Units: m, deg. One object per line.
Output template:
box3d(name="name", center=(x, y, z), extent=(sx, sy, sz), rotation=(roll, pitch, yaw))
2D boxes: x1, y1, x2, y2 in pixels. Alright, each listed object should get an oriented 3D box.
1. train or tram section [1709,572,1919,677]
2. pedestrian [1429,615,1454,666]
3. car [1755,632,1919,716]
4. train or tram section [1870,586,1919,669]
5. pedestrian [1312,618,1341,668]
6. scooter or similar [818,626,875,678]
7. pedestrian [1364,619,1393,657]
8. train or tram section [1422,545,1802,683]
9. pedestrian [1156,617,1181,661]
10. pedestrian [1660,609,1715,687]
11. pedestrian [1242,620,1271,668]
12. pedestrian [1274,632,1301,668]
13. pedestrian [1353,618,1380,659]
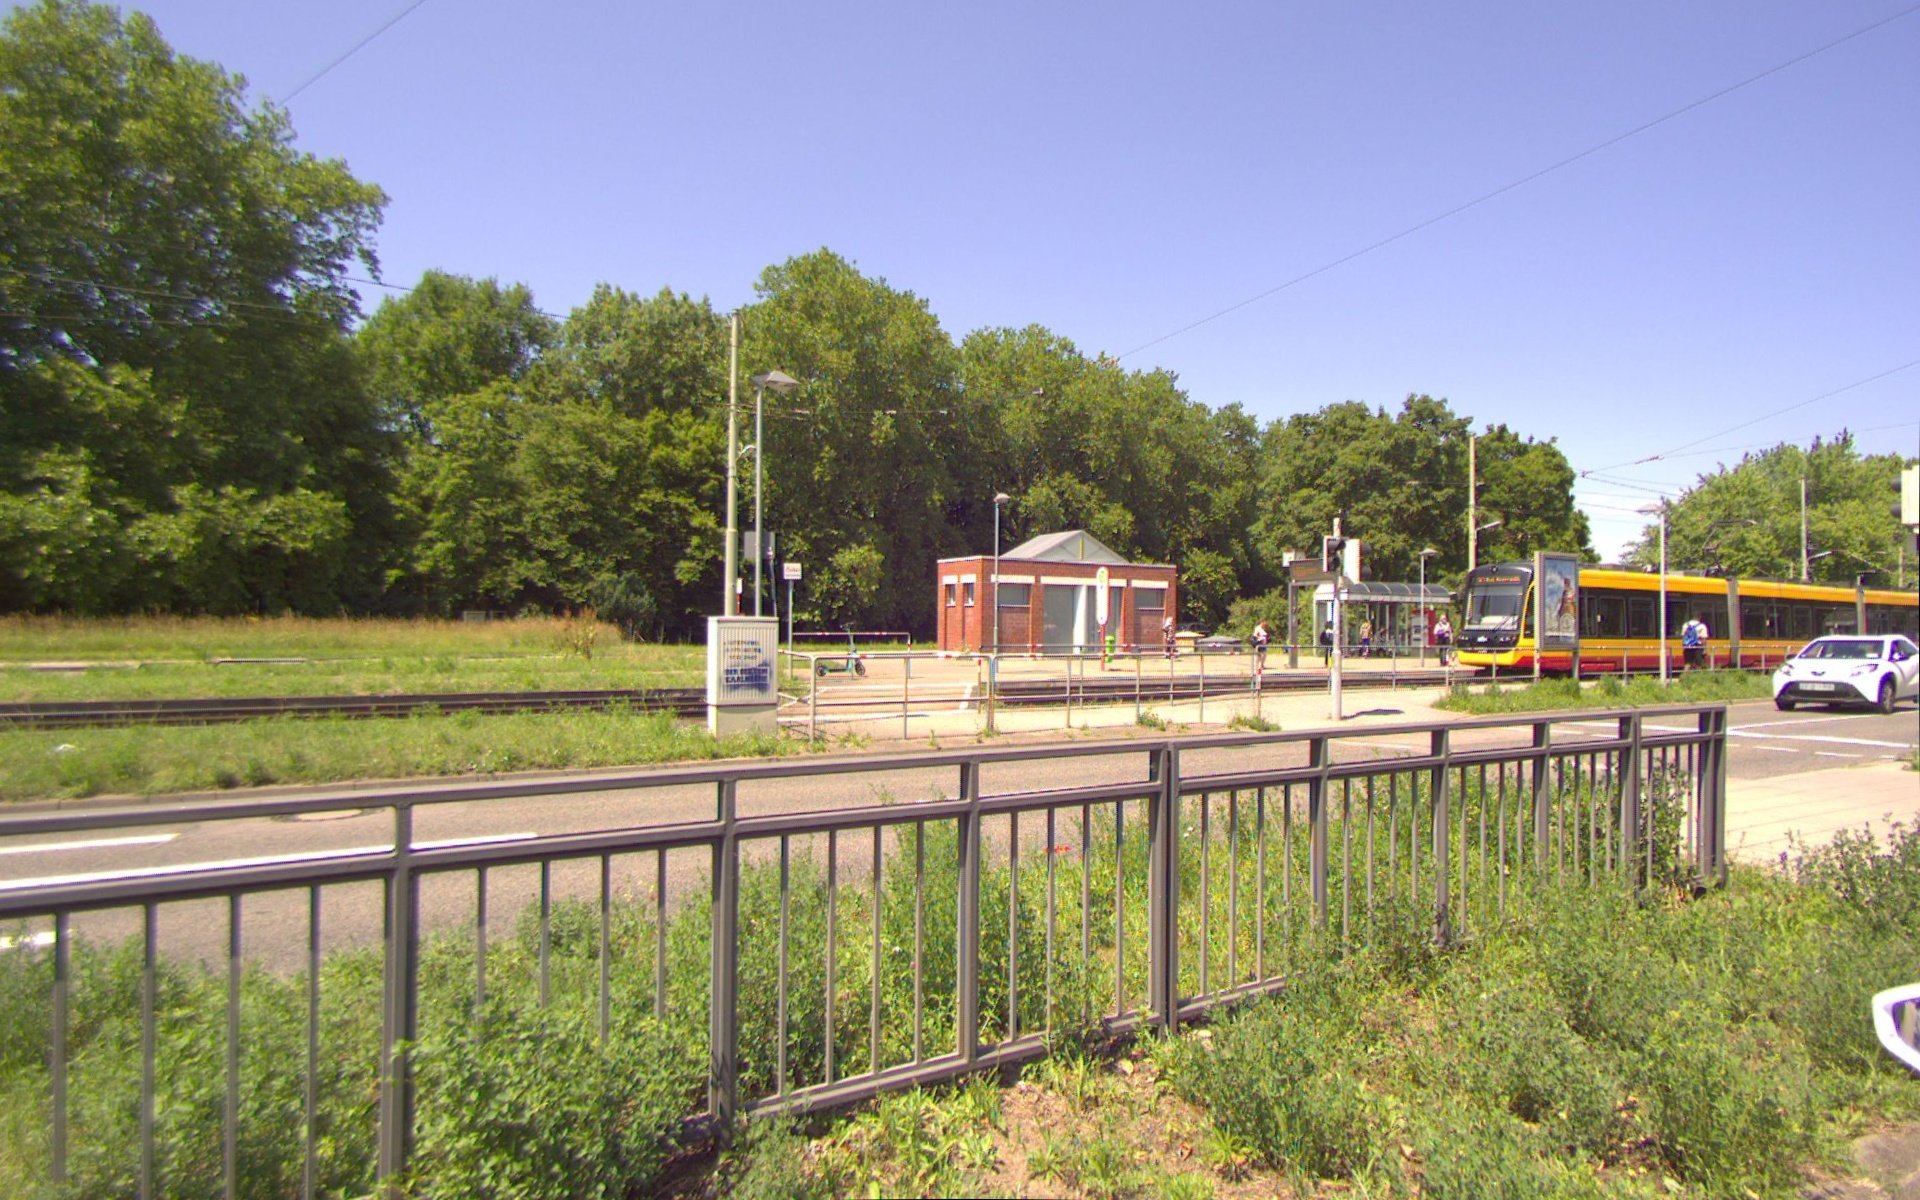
box3d(name="train or tram section", center=(38.990, 1.146, 44.282), extent=(18.293, 3.984, 3.198), rotation=(1, -1, -32))
box3d(name="pedestrian", center=(17.451, 1.471, 36.425), extent=(0.707, 1.824, 0.845), rotation=(0, -1, 17))
box3d(name="car", center=(18.070, 1.439, 20.374), extent=(3.747, 1.514, 1.836), rotation=(1, -1, -30))
box3d(name="train or tram section", center=(52.568, 1.540, 55.450), extent=(3.181, 3.984, 18.393), rotation=(0, -1, 43))
box3d(name="pedestrian", center=(11.843, 1.388, 32.417), extent=(0.688, 1.575, 0.629), rotation=(1, -1, -42))
box3d(name="scooter or similar", center=(-2.637, 1.201, 23.450), extent=(1.217, 1.183, 0.508), rotation=(1, -1, -30))
box3d(name="pedestrian", center=(17.245, 1.572, 41.373), extent=(0.710, 1.531, 0.841), rotation=(1, -1, -19))
box3d(name="train or tram section", center=(23.309, 0.615, 34.971), extent=(18.281, 3.984, 3.200), rotation=(1, -1, -30))
box3d(name="pedestrian", center=(7.138, 1.328, 34.440), extent=(0.563, 1.499, 0.636), rotation=(1, -1, -30))
box3d(name="pedestrian", center=(17.804, 1.151, 24.582), extent=(0.832, 1.802, 0.714), rotation=(-1, 5, -30))
box3d(name="pedestrian", center=(9.206, 1.368, 31.222), extent=(0.576, 1.476, 0.636), rotation=(1, -1, -30))
box3d(name="pedestrian", center=(10.463, 1.586, 32.093), extent=(0.563, 1.139, 0.636), rotation=(1, -1, -30))
box3d(name="pedestrian", center=(16.177, 1.518, 39.962), extent=(0.799, 1.611, 0.668), rotation=(1, -1, -30))
